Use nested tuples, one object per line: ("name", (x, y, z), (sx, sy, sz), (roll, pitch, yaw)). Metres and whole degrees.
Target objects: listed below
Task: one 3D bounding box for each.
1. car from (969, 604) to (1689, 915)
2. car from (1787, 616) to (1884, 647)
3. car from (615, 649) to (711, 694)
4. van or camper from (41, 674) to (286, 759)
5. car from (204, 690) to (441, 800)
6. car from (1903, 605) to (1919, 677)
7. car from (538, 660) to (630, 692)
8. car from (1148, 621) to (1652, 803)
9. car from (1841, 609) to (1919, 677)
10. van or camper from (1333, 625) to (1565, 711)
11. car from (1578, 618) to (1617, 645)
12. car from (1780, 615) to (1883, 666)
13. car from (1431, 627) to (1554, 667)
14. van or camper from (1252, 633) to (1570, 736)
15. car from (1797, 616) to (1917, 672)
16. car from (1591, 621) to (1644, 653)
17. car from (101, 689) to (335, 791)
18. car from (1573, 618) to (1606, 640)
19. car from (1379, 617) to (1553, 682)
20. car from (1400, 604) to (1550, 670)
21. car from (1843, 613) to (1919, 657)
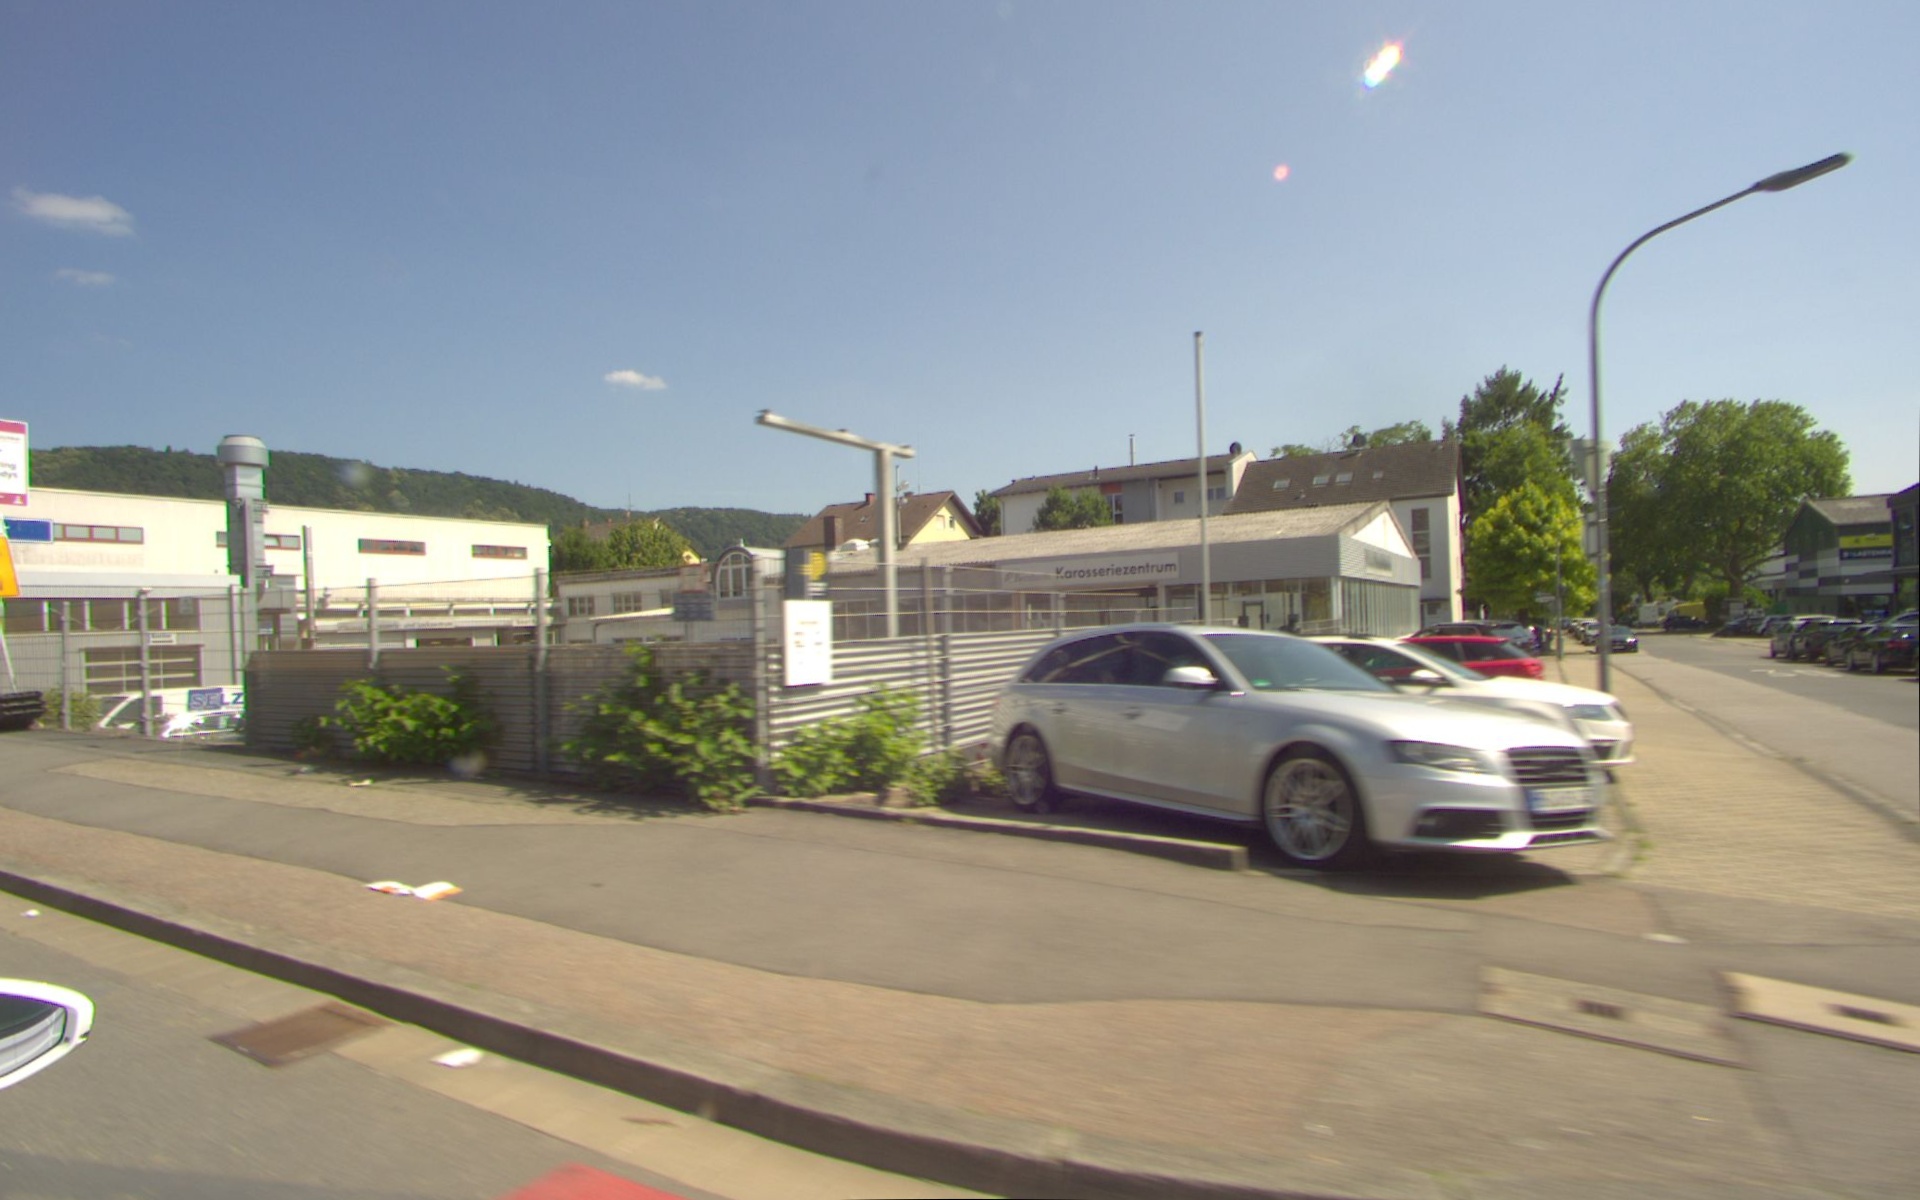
("car", (2.002, 0.903, 6.893), (1.930, 1.374, 4.479), (3, -5, -29))
("car", (50.054, 1.787, 57.333), (3.943, 1.671, 1.754), (-1, 0, 33))
("car", (-13.243, 3.153, 44.873), (1.887, 1.880, 3.985), (-2, -3, 29))
("van or camper", (-19.456, 2.781, 24.676), (1.989, 1.672, 4.312), (-1, -2, 26))
("car", (-14.017, 3.099, 22.261), (1.970, 2.038, 3.985), (-1, -3, 29))
("car", (24.737, 1.016, 24.043), (1.969, 1.817, 3.985), (-1, 0, 27))
("car", (-17.797, 3.595, 47.547), (1.843, 1.421, 3.824), (-4, -5, 28))
("car", (4.385, 1.008, 10.391), (4.439, 1.524, 1.845), (-1, -1, 30))
("car", (27.139, 1.214, 28.632), (1.969, 1.816, 3.986), (-1, -2, 27))
("van or camper", (10.853, 1.482, 22.514), (1.972, 1.563, 4.206), (-6, 1, -32))
("car", (42.048, 2.060, 66.124), (1.970, 1.706, 3.981), (-1, 0, 30))
("car", (32.578, 1.478, 37.557), (1.969, 1.794, 3.986), (-1, -1, 27))
("car", (21.055, 1.879, 39.738), (1.728, 1.504, 3.975), (2, -4, -35))
("van or camper", (6.781, 1.265, 15.225), (4.165, 1.367, 1.995), (-1, -6, 30))
("car", (29.541, 1.390, 33.122), (1.969, 1.684, 3.985), (-1, 0, 27))
("car", (34.570, 1.905, 52.729), (1.969, 1.572, 3.983), (-1, 0, 29))
("car", (-17.388, 3.198, 23.667), (1.970, 2.038, 3.985), (-1, -3, 29))
("car", (48.727, 2.210, 77.547), (1.970, 1.606, 3.981), (-1, 0, 30))
("car", (14.153, 1.329, 28.220), (1.971, 1.668, 3.980), (1, -1, -30))
("car", (17.027, 1.268, 33.267), (1.975, 2.038, 3.975), (2, -4, -35))
("car", (42.839, 1.561, 45.430), (3.946, 1.929, 1.753), (-1, 0, 35))
